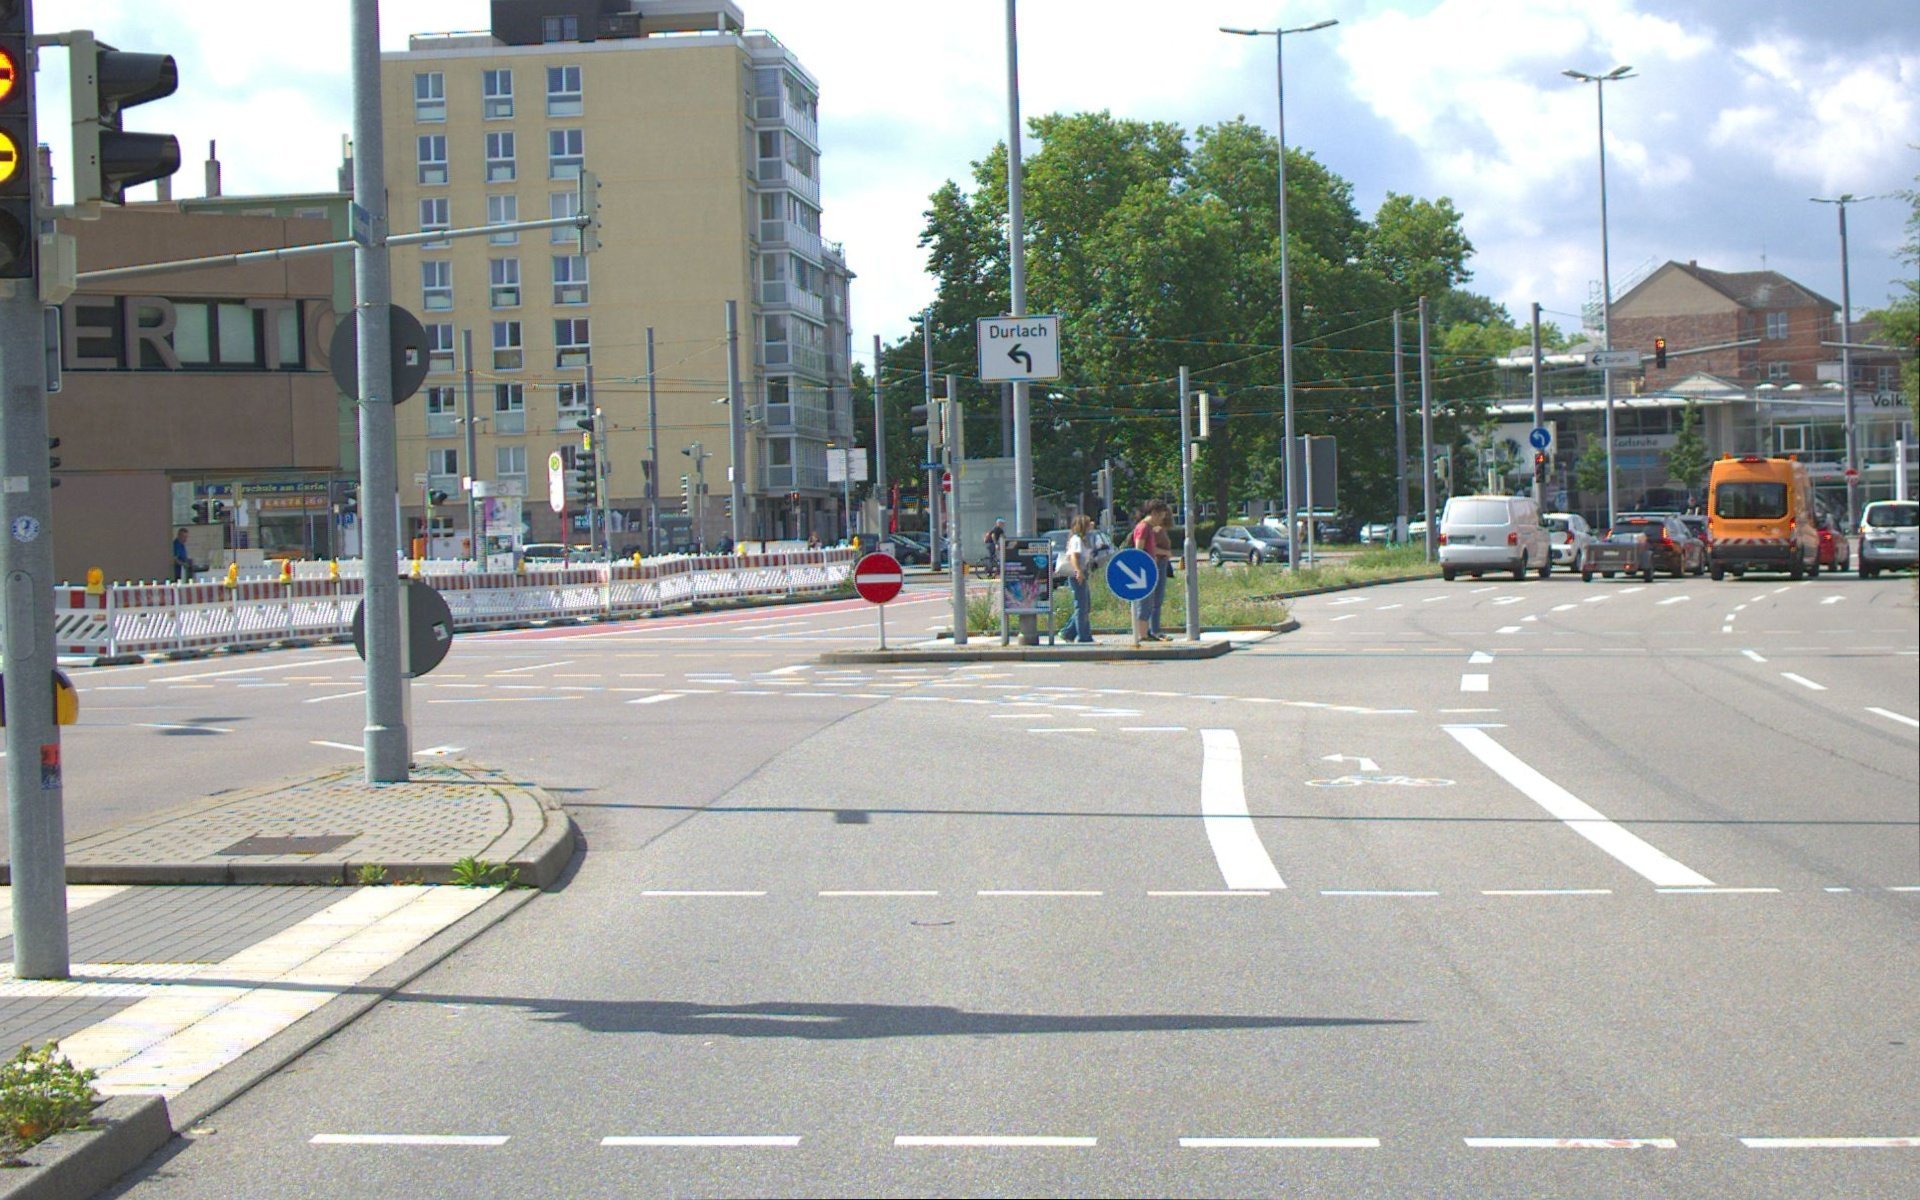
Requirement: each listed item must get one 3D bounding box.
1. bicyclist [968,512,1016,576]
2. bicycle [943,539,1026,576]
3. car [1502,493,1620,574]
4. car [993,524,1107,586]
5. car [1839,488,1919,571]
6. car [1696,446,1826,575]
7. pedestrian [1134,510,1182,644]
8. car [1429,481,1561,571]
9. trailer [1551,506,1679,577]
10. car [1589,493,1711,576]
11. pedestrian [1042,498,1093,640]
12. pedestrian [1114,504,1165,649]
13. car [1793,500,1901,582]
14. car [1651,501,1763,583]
[{"bbox_3d":[0.980,-1.720,105.210,1.220,1.903,0.858,-1,1,18],"label":"bicyclist"},{"bbox_3d":[0.757,-1.296,105.288,2.381,1.063,0.858,-1,1,18],"label":"bicycle"},{"bbox_3d":[15.325,-1.703,87.515,1.993,1.932,4.634,-2,1,22],"label":"car"},{"bbox_3d":[2.151,-1.068,81.020,1.793,1.383,4.224,-1,1,14],"label":"car"},{"bbox_3d":[21.492,-1.643,78.742,1.996,1.788,3.995,-2,1,23],"label":"car"},{"bbox_3d":[18.233,-2.037,78.140,2.132,2.771,4.634,-2,1,22],"label":"car"},{"bbox_3d":[2.516,-0.299,43.712,0.525,1.678,0.623,-1,1,7],"label":"pedestrian"},{"bbox_3d":[12.495,-1.739,80.090,2.008,1.960,4.634,-2,1,22],"label":"car"},{"bbox_3d":[14.759,-1.328,77.361,1.996,1.472,3.996,-2,1,23],"label":"trailer"},{"bbox_3d":[16.239,-1.562,80.820,1.996,1.820,3.996,-2,1,23],"label":"car"},{"bbox_3d":[1.326,-0.383,42.409,0.525,1.727,0.623,-1,1,7],"label":"pedestrian"},{"bbox_3d":[2.167,-0.288,41.417,0.525,1.727,0.623,-1,1,7],"label":"pedestrian"},{"bbox_3d":[22.265,-1.498,86.176,1.993,1.932,4.634,-2,1,22],"label":"car"},{"bbox_3d":[18.936,-1.491,87.049,1.993,1.932,4.634,-2,1,22],"label":"car"}]
